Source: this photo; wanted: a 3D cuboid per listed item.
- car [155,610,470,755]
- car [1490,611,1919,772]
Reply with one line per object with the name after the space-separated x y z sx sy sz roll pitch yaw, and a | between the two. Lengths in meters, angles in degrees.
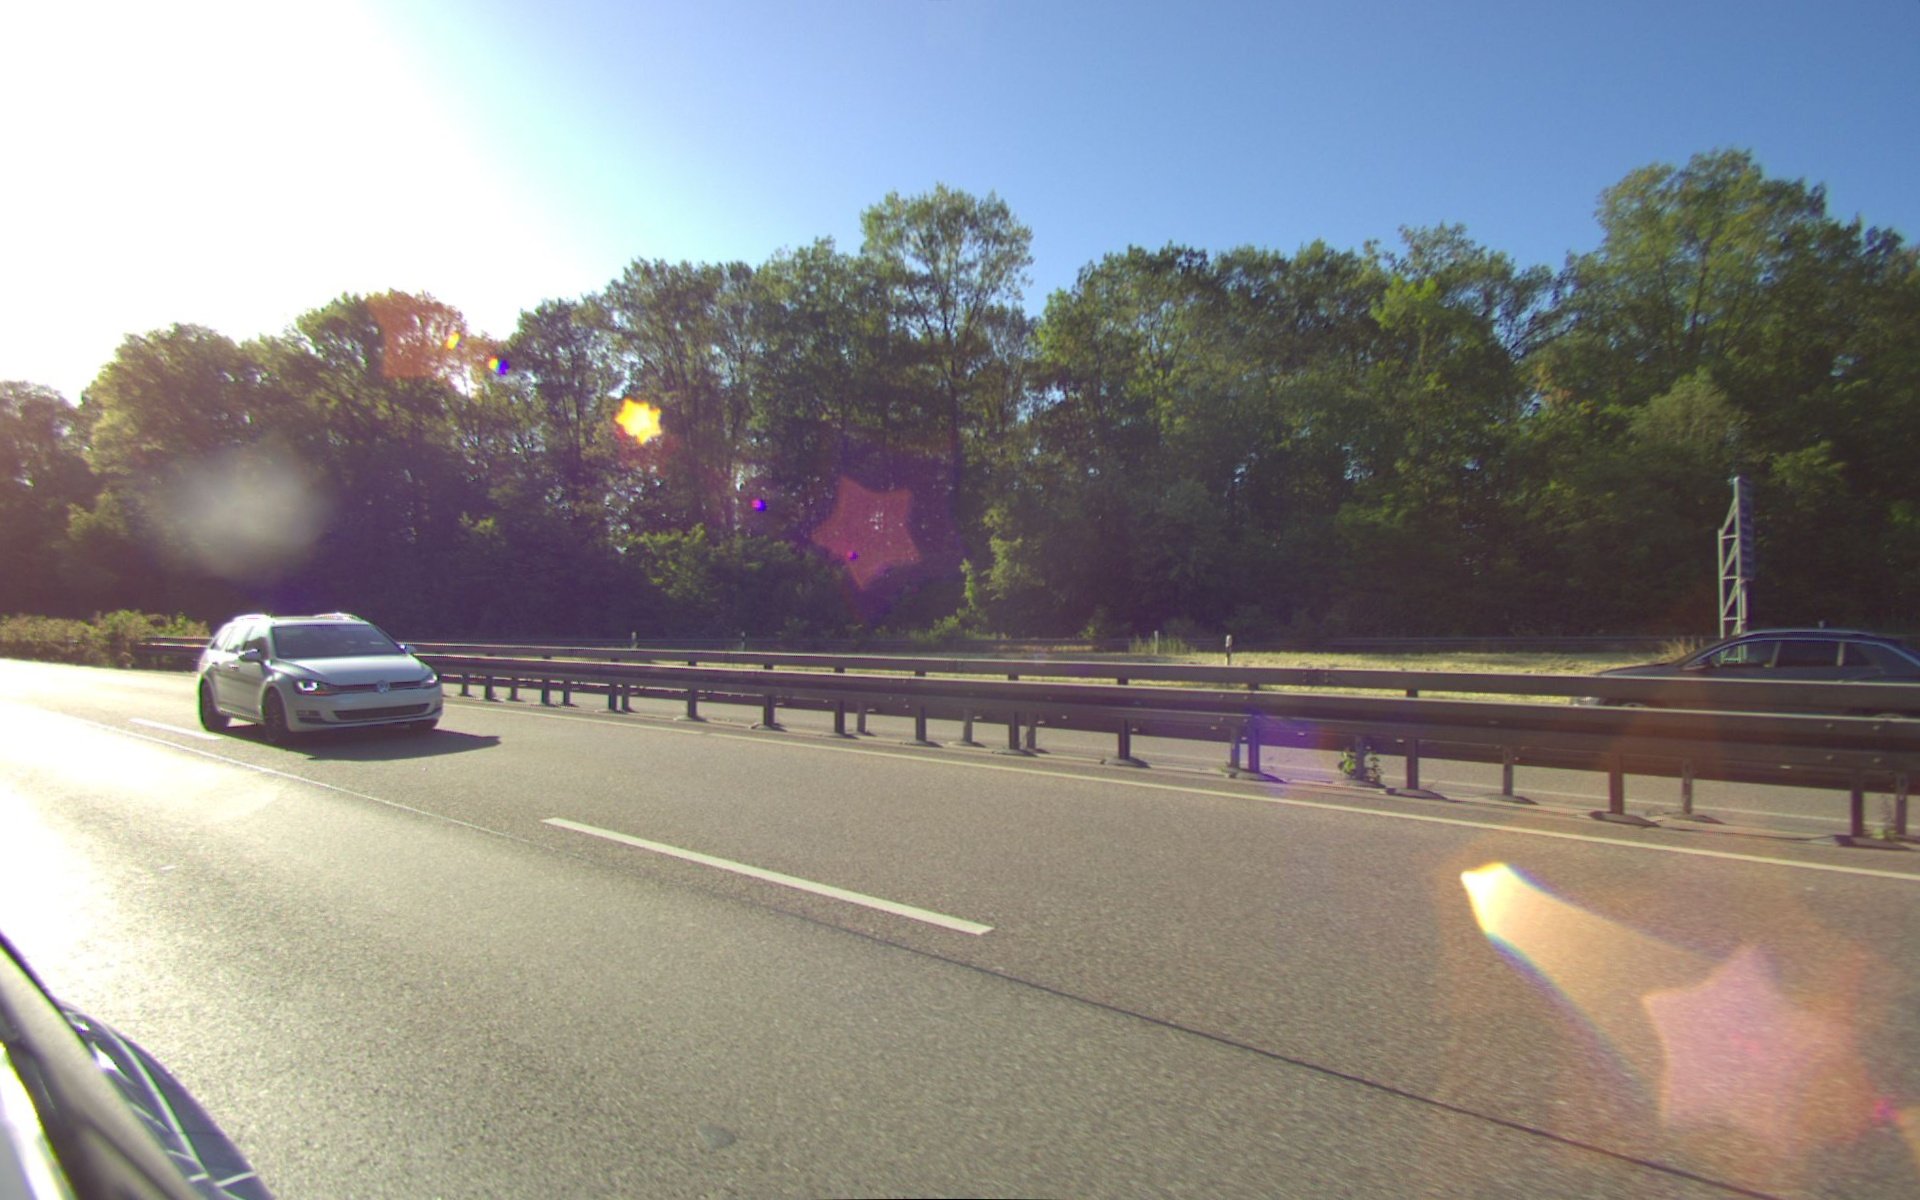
-8.637 0.947 13.235 5.594 1.519 1.910 -2 -1 40 | car
10.372 1.106 13.745 5.307 1.862 1.973 -2 -1 41 | car
